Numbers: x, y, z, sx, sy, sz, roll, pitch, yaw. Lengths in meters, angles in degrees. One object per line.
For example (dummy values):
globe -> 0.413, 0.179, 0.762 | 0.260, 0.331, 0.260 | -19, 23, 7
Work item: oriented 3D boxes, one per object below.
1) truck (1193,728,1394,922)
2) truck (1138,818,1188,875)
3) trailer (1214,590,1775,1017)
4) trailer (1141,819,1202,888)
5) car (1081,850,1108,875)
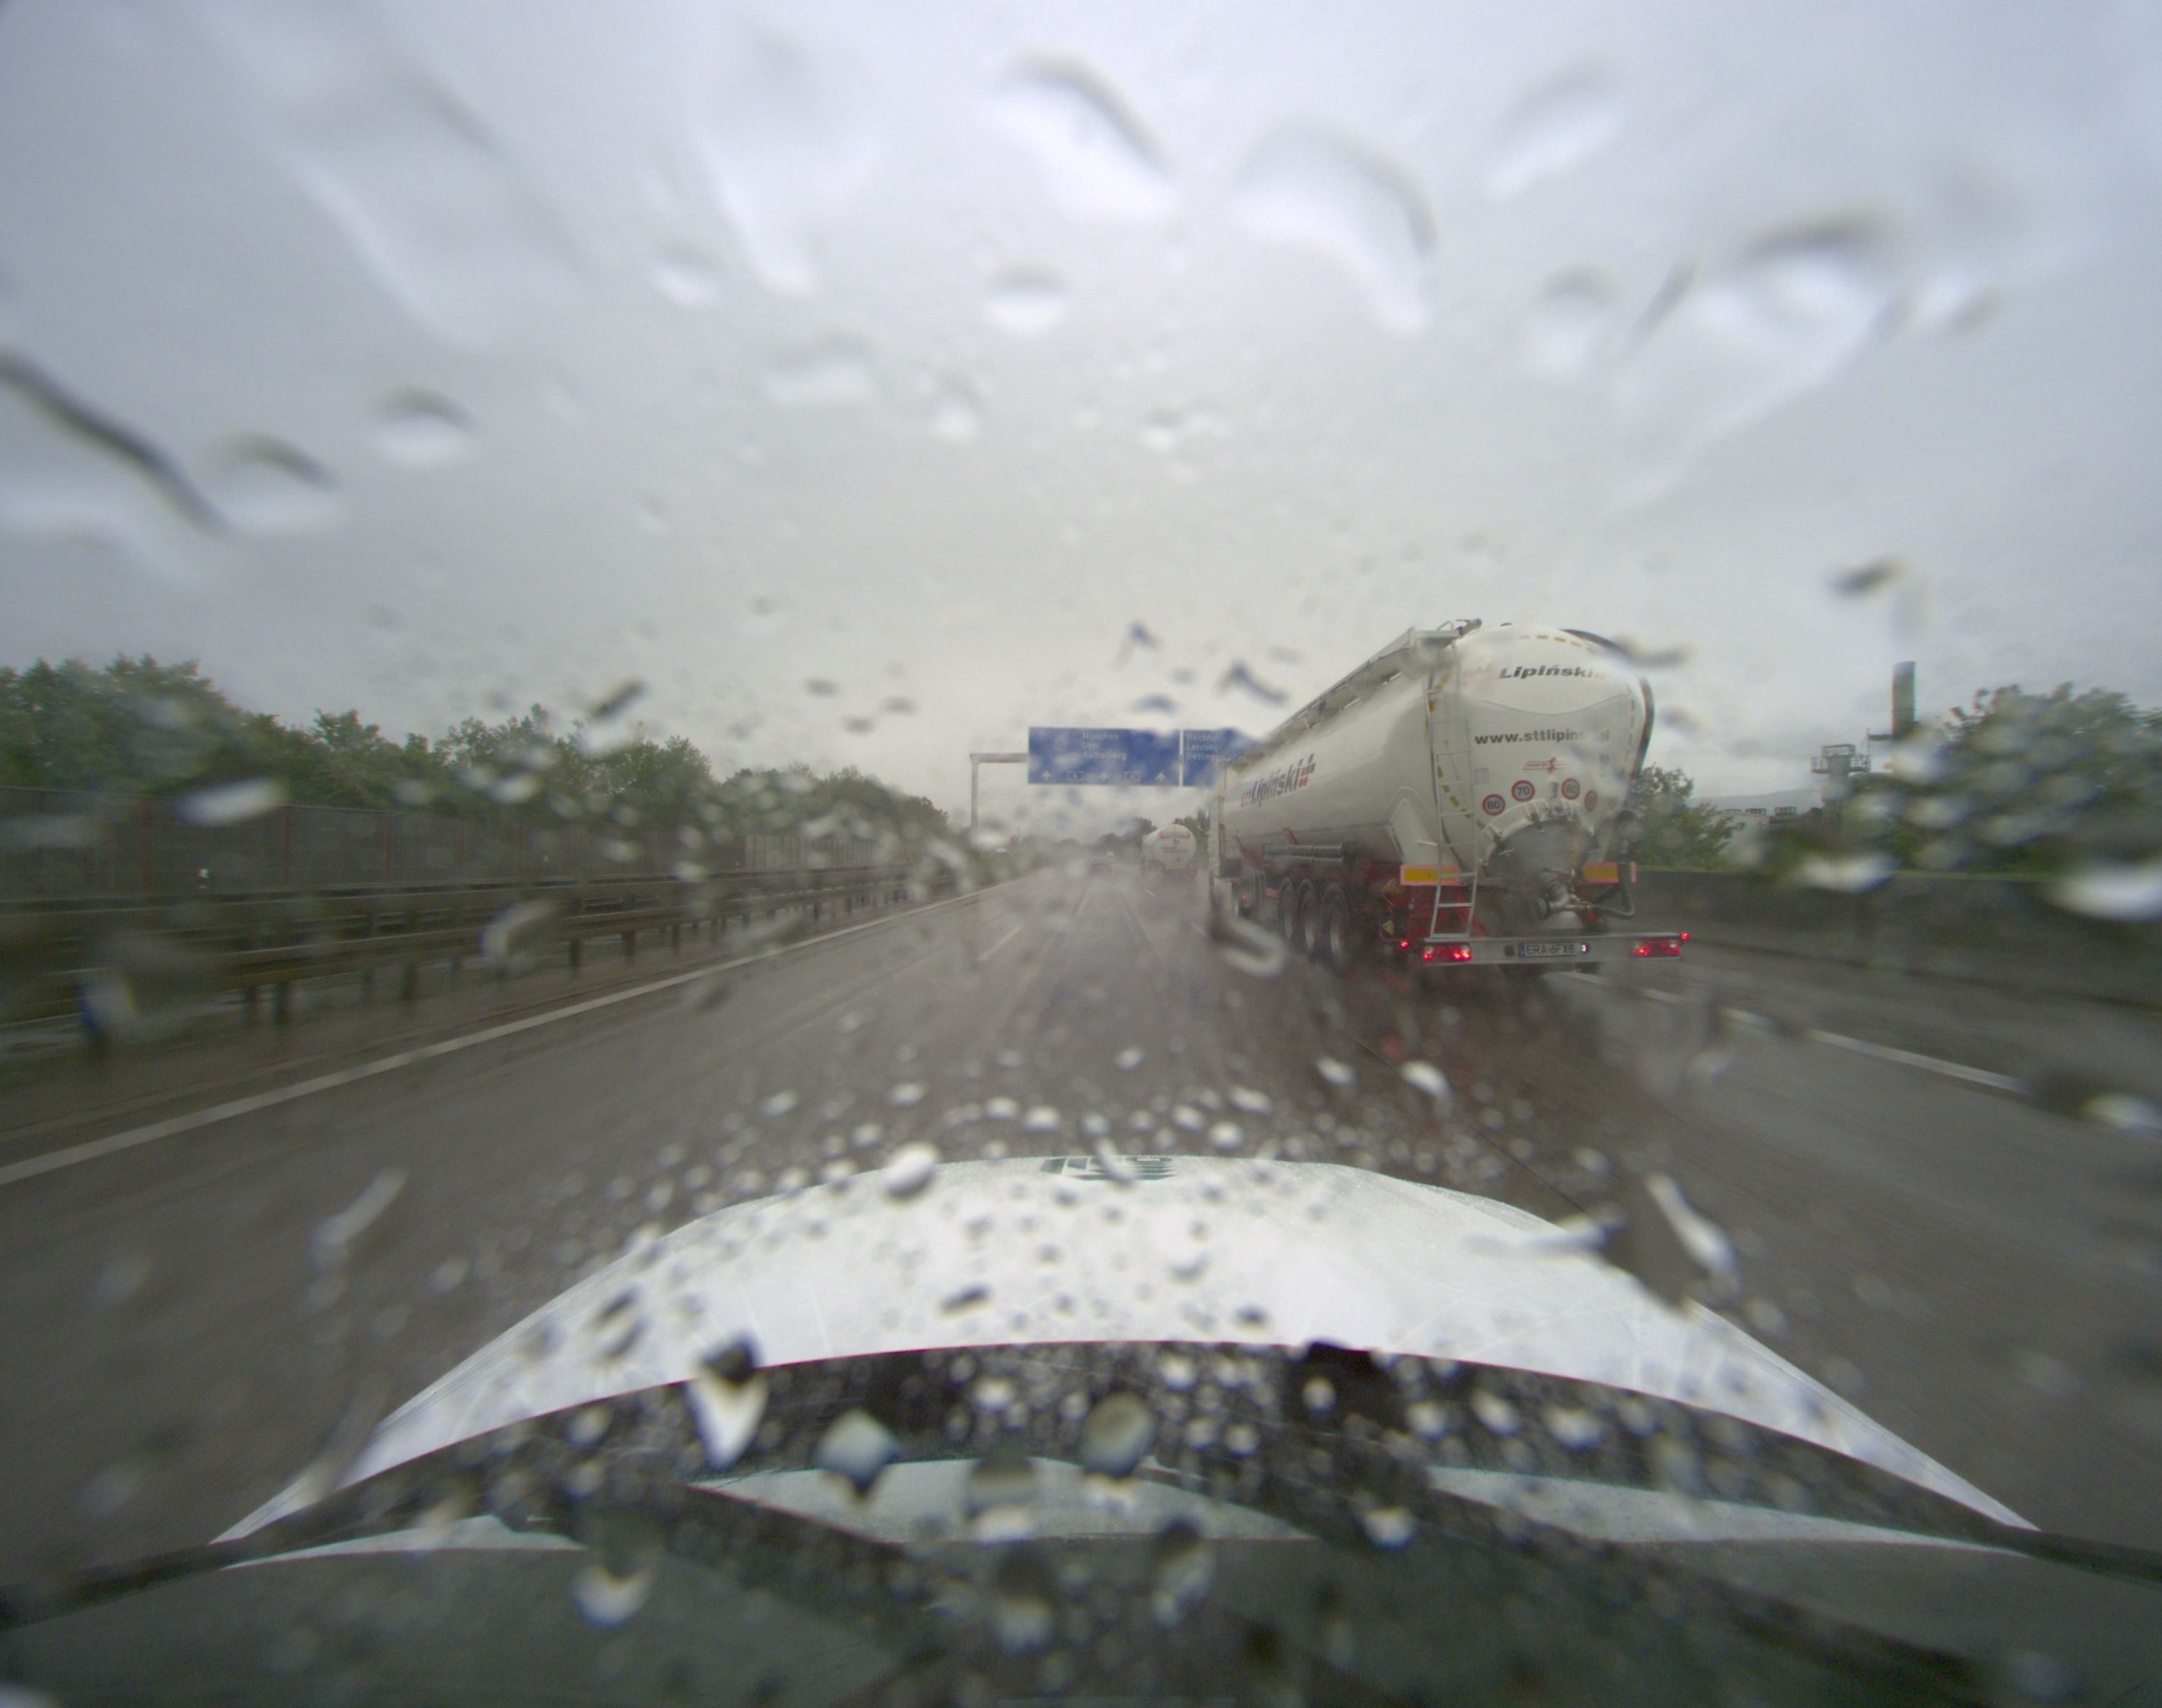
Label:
truck -> 4.697, -0.570, 19.741 | 3.093, 3.806, 7.214 | -1, 0, 1
truck -> 5.537, -0.474, 55.993 | 2.933, 3.684, 6.363 | -1, 0, 1
trailer -> 4.538, -0.470, 12.890 | 3.177, 3.670, 11.670 | -1, 0, 1
trailer -> 5.398, -0.040, 50.155 | 2.993, 3.848, 8.626 | -1, 0, 2
car -> 1.079, 0.634, 62.194 | 1.971, 1.756, 4.483 | -1, 1, 1
